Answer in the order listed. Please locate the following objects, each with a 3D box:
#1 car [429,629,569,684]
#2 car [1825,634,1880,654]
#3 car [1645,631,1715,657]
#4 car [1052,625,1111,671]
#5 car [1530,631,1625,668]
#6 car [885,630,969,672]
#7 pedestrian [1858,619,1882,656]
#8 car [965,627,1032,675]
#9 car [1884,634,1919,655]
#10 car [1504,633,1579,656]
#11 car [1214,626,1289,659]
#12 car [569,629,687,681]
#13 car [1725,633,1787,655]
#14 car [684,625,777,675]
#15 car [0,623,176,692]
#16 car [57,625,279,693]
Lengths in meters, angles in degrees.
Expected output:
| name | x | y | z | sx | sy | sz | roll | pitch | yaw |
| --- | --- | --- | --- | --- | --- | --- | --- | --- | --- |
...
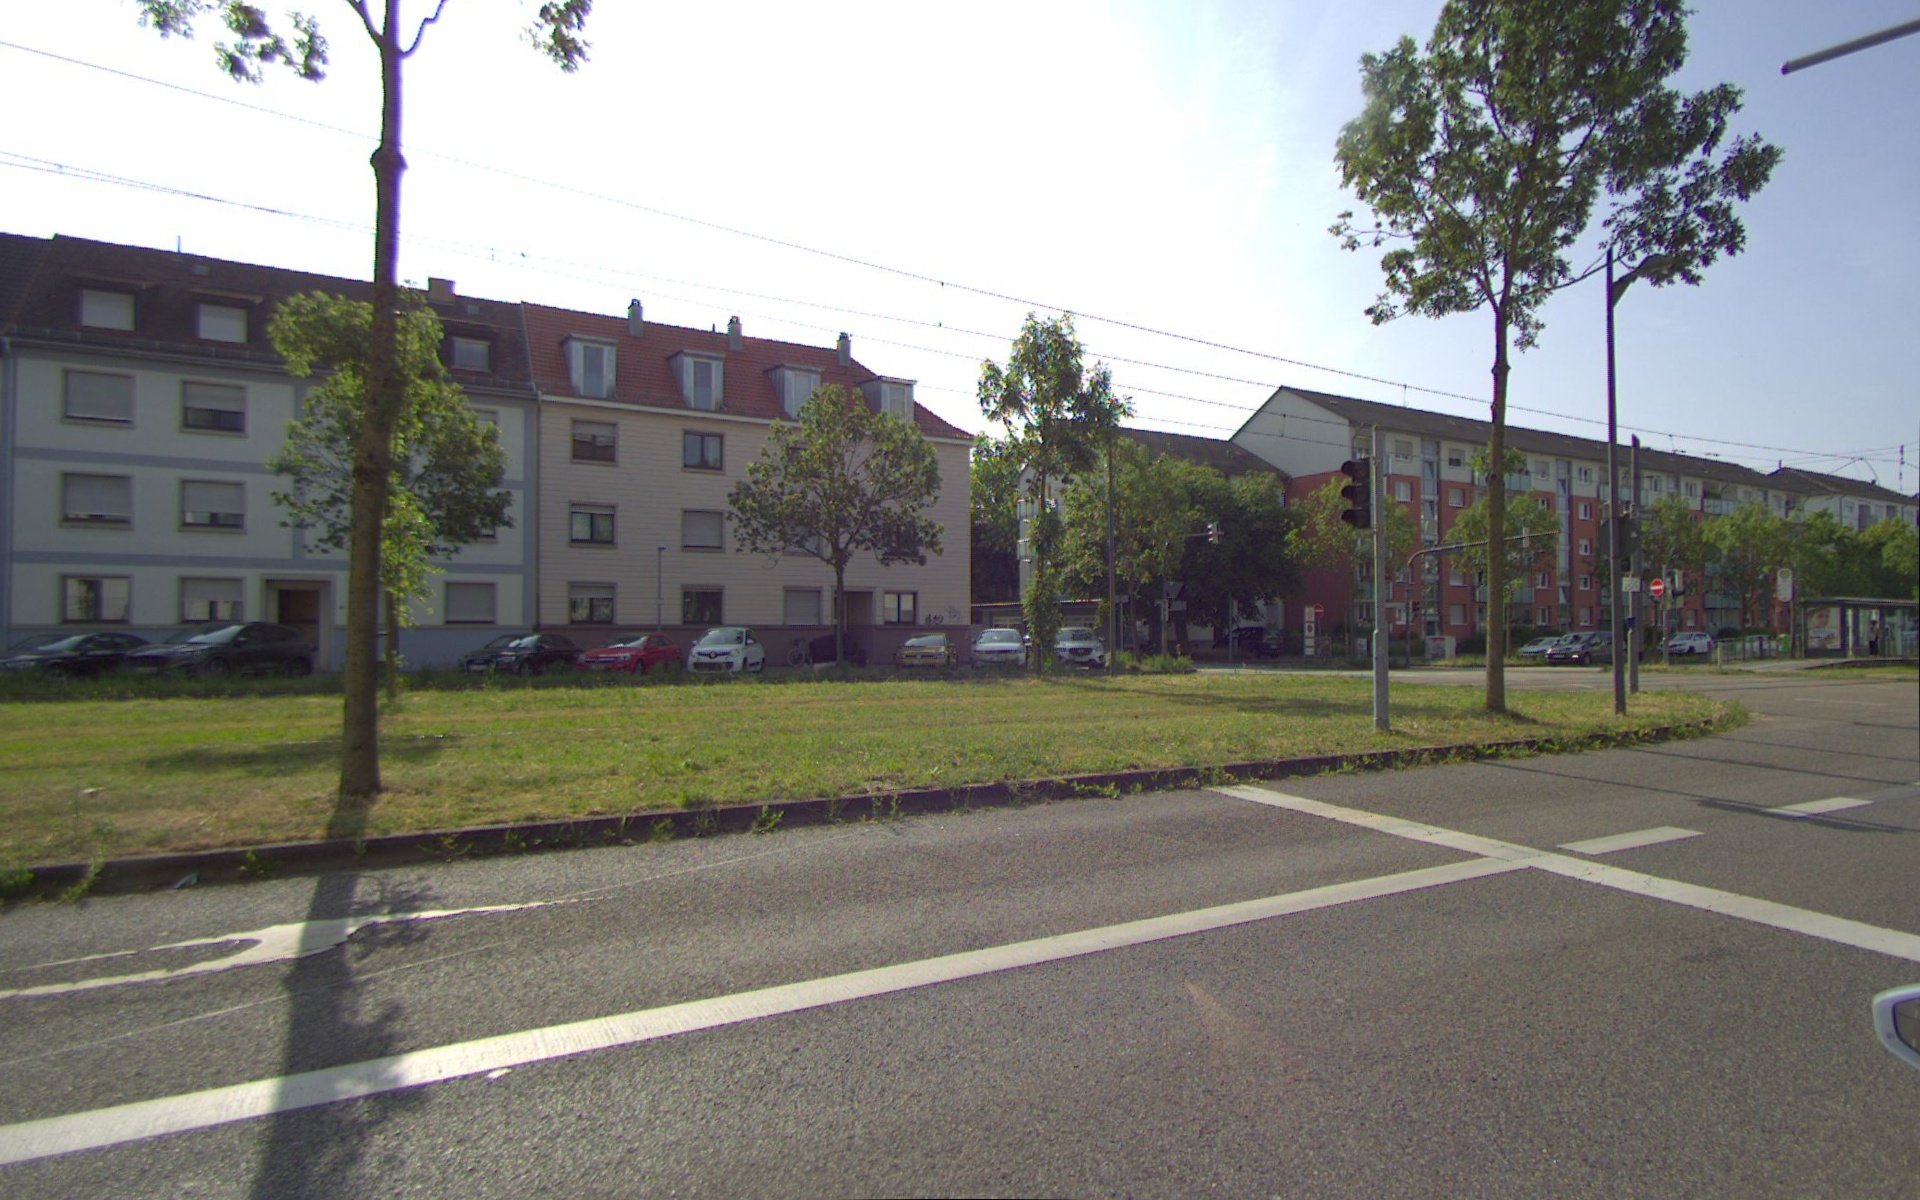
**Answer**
| name | x | y | z | sx | sy | sz | roll | pitch | yaw |
| --- | --- | --- | --- | --- | --- | --- | --- | --- | --- |
| car | -12.286 | 1.473 | 27.049 | 1.665 | 1.251 | 4.002 | 1 | 0 | 4 |
| car | 66.879 | 3.306 | 75.249 | 4.022 | 1.378 | 1.971 | 1 | 0 | -30 |
| car | 45.485 | 2.762 | 63.418 | 4.484 | 1.577 | 1.971 | 1 | 0 | -31 |
| car | 4.392 | 1.711 | 36.919 | 1.924 | 1.483 | 4.355 | 1 | 0 | 4 |
| car | 30.465 | 2.437 | 49.524 | 4.655 | 1.728 | 1.985 | 1 | -1 | -29 |
| car | -1.058 | 1.698 | 34.178 | 1.959 | 1.194 | 4.002 | 1 | 0 | 12 |
| pedestrian | 41.895 | 1.731 | 46.244 | 0.786 | 1.675 | 0.667 | 1 | -2 | -34 |
| car | 1.408 | 1.719 | 34.886 | 1.959 | 1.534 | 4.468 | 0 | -2 | 7 |
| car | 76.086 | 3.540 | 80.451 | 4.231 | 1.533 | 1.971 | 1 | 0 | -31 |
| car | 32.042 | 2.417 | 55.340 | 4.116 | 1.163 | 1.824 | 1 | 0 | -31 |
| car | 16.873 | 2.427 | 58.380 | 1.975 | 1.717 | 3.970 | 1 | 0 | -28 |
| car | -9.505 | 1.539 | 29.087 | 1.838 | 1.275 | 4.001 | 1 | 0 | 4 |
| car | 53.959 | 2.977 | 68.101 | 4.022 | 1.378 | 1.971 | 1 | 0 | -30 |
| car | -6.892 | 1.471 | 30.541 | 1.849 | 1.286 | 4.000 | 1 | 0 | 1 |
| car | -20.201 | 1.239 | 22.684 | 1.961 | 1.305 | 3.998 | 1 | 0 | -3 |
| car | -18.039 | 1.287 | 23.168 | 1.961 | 1.305 | 4.058 | 1 | 0 | -2 |
